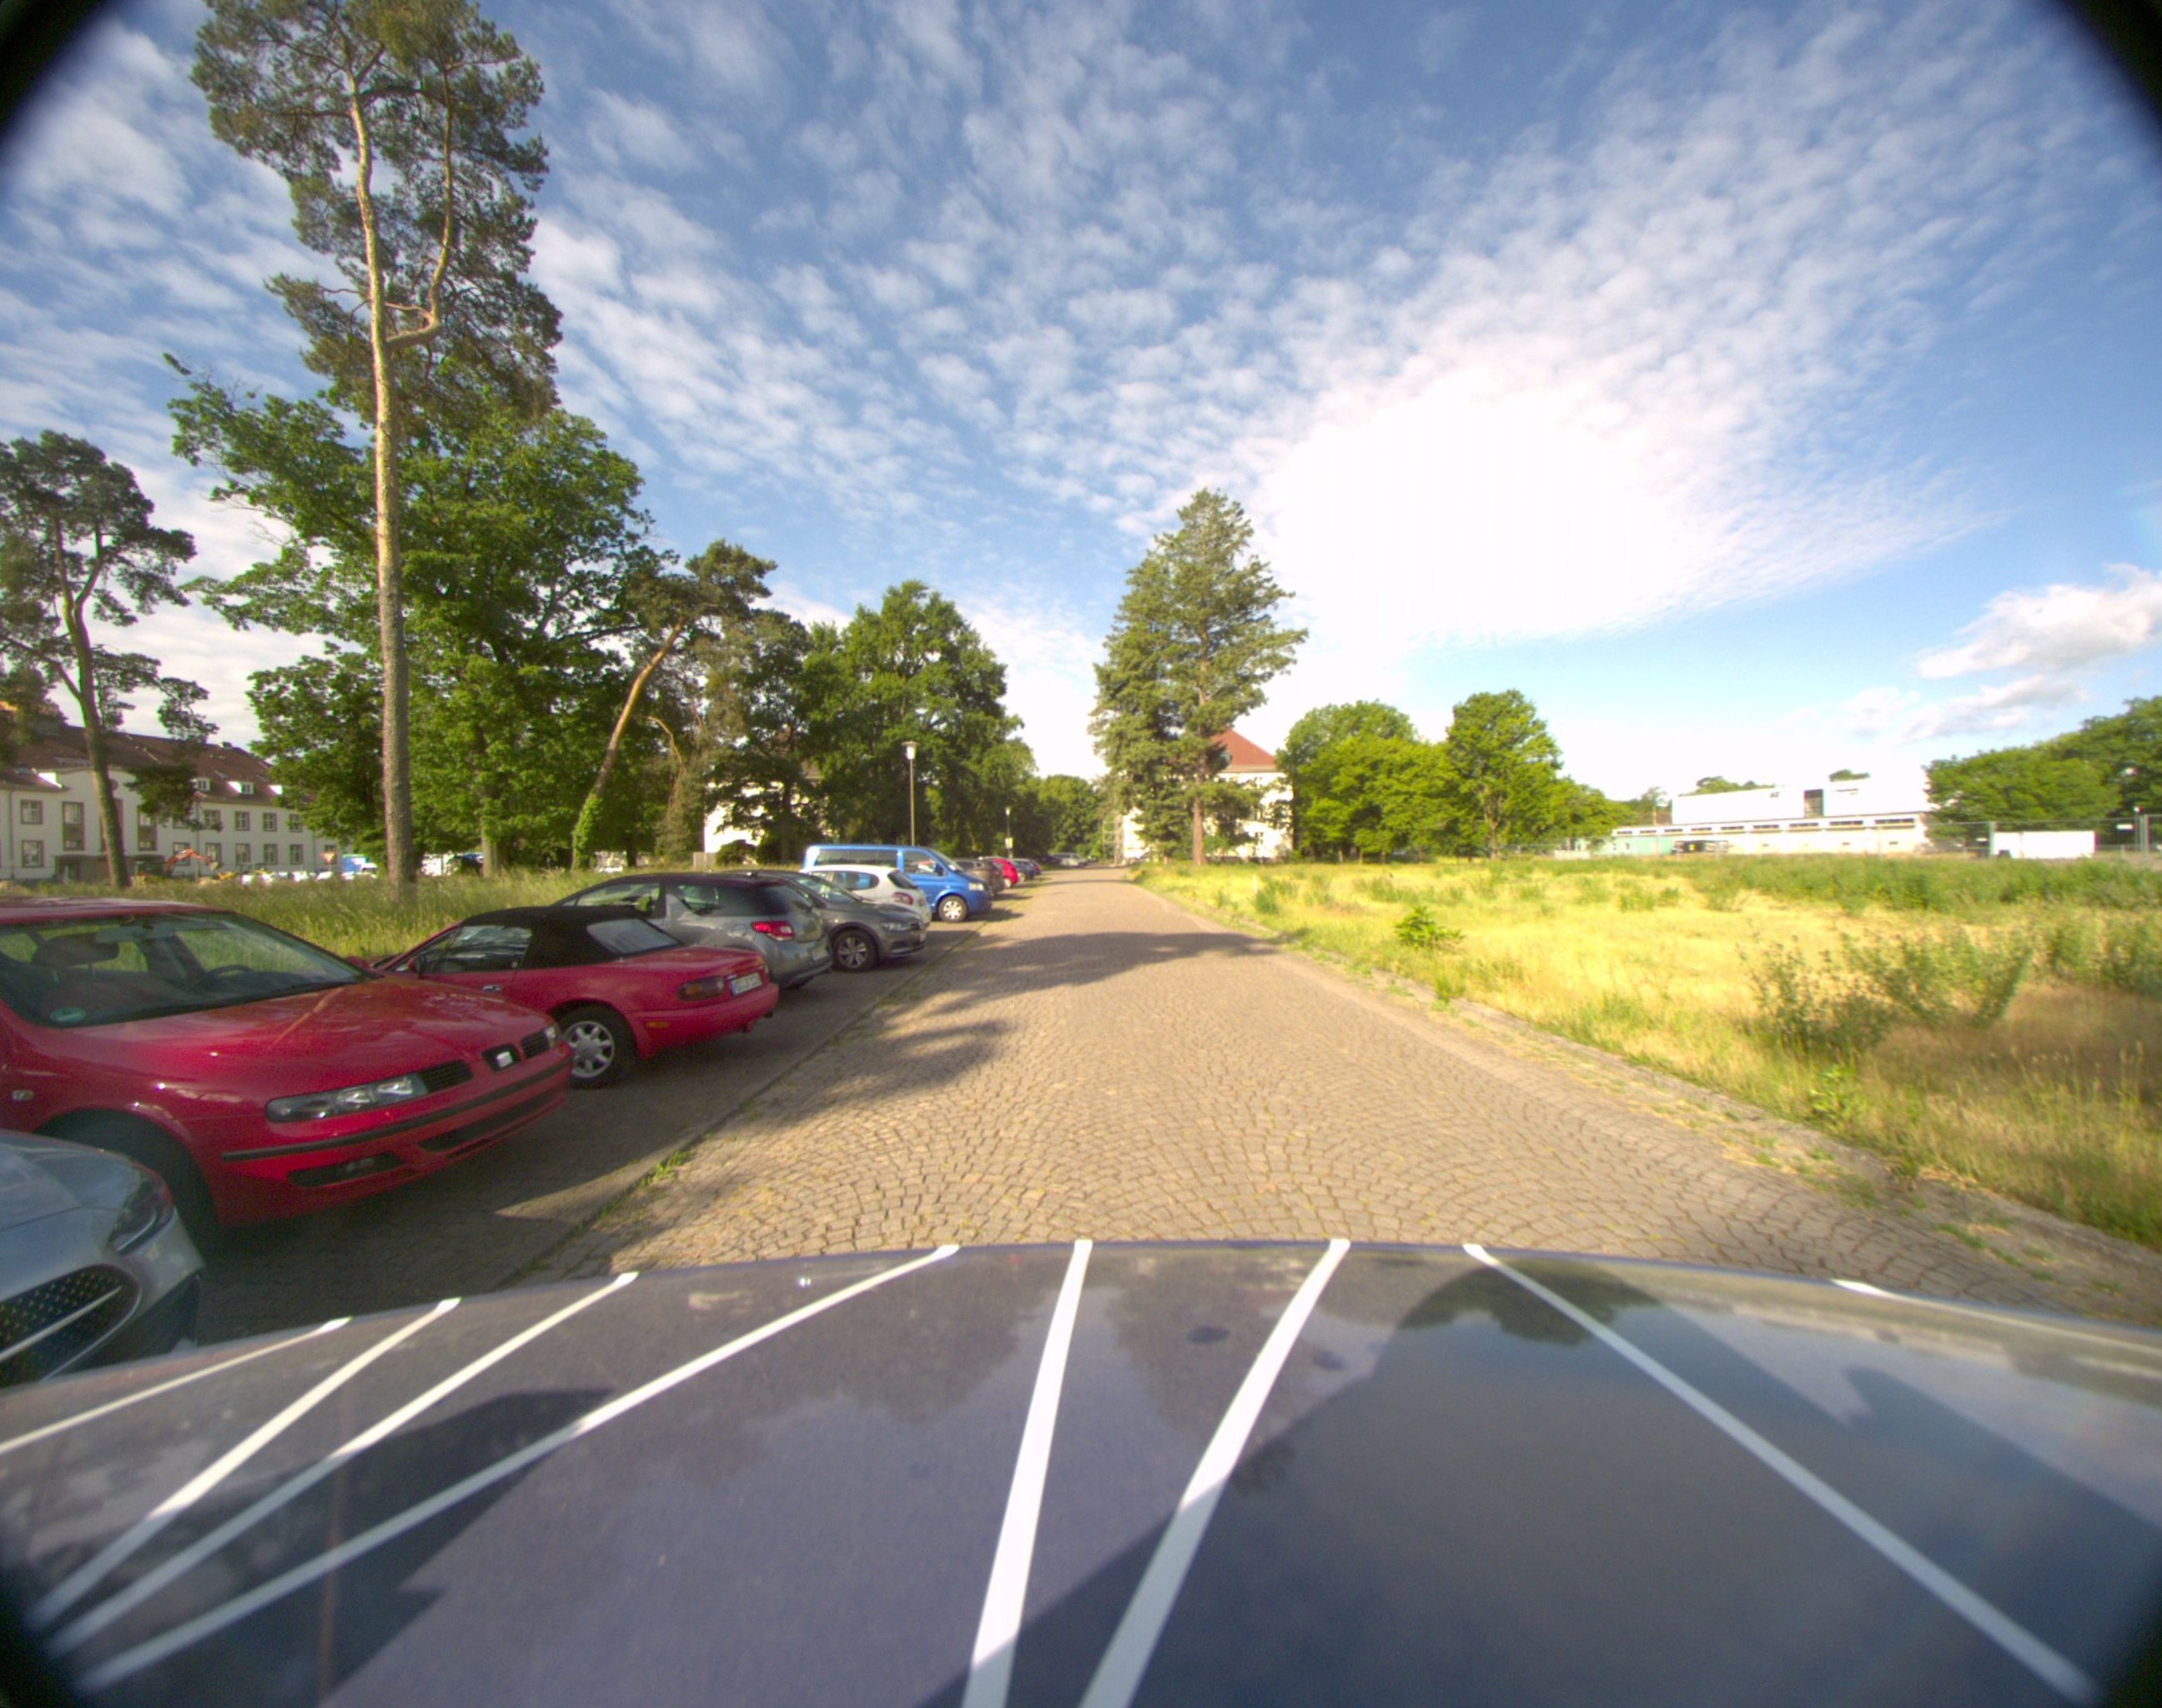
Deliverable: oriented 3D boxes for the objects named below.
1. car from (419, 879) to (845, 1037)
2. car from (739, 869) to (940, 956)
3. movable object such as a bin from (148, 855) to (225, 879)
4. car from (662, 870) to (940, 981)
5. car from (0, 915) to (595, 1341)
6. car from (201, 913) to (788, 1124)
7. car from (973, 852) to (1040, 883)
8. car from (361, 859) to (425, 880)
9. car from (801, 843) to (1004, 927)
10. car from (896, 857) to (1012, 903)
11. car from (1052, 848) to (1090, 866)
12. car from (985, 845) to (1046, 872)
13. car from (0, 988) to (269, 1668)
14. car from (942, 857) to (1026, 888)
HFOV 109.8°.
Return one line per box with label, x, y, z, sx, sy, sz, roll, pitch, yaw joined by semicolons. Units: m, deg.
car;-4.781;1.080;8.477;3.779;1.482;1.549;-1;1;-1
car;-4.464;1.063;14.309;3.264;1.482;1.449;-1;1;2
movable object such as a bin;-90.720;1.299;77.182;1.999;2.309;4.985;-1;0;-3
car;-4.141;1.020;11.456;3.621;1.482;1.509;-1;1;10
car;-4.771;1.056;3.549;3.918;1.385;1.661;0;1;-1
car;-4.214;1.162;5.829;3.357;1.248;1.420;-1;1;-1
car;-4.792;0.861;49.185;3.996;1.731;1.756;-4;1;3
car;-68.610;1.490;75.855;1.998;2.002;4.773;-1;0;1
car;-4.501;0.762;19.692;4.726;2.002;2.000;-1;1;1
car;-4.714;0.949;28.631;3.996;1.630;1.757;-1;1;3
car;-1.312;0.375;102.628;5.068;2.251;2.000;-1;1;0
car;-4.623;0.295;54.011;3.996;1.605;1.757;-4;1;4
car;-4.578;1.073;1.269;4.423;1.394;1.826;1;0;-1
car;-4.943;0.932;38.990;3.996;1.509;1.757;-1;1;3
